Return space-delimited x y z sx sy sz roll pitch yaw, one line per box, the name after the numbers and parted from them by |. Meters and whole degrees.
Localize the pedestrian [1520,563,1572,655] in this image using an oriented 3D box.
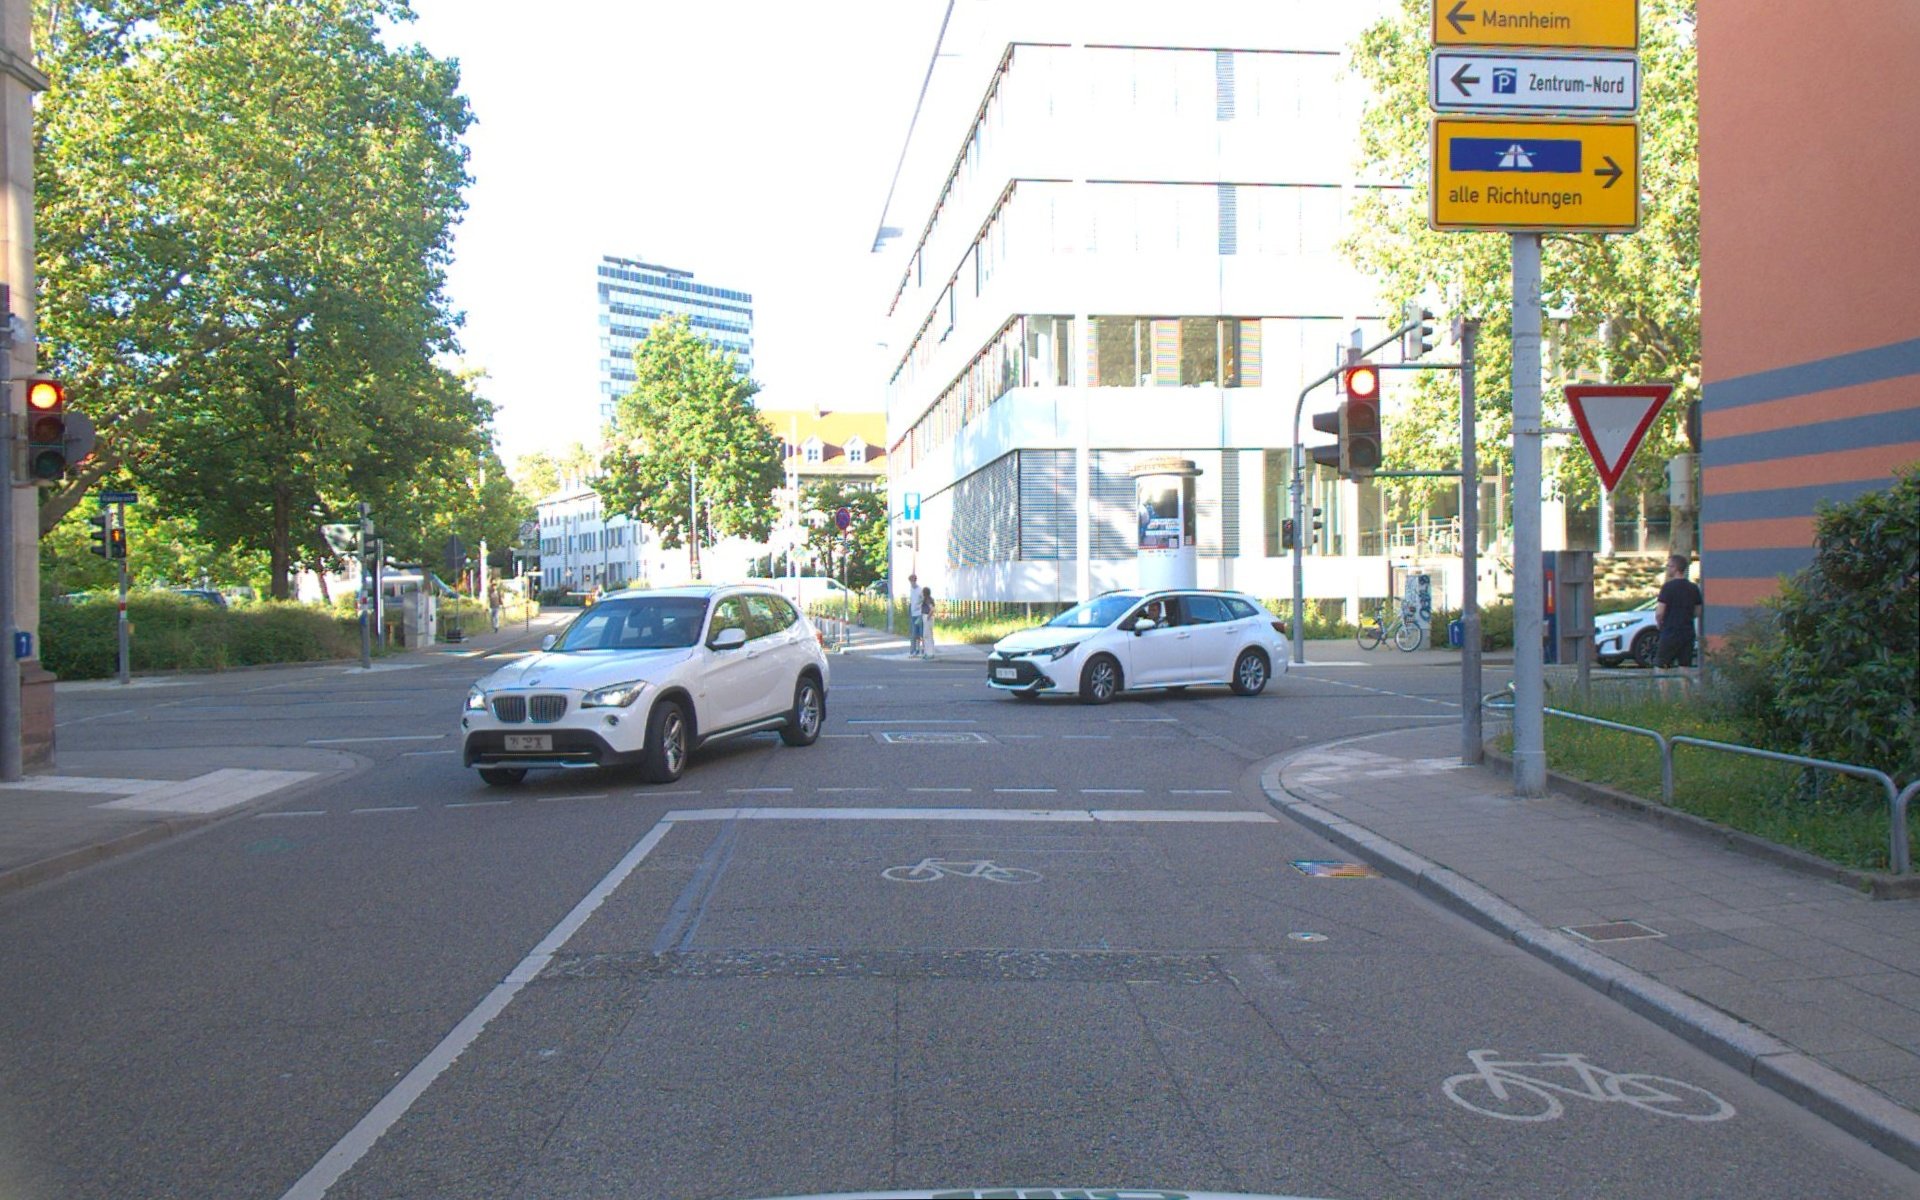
12.105 0.174 34.171 0.817 1.872 0.709 1 0 2 | pedestrian

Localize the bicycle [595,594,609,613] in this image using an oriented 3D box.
-18.939 0.184 87.589 0.604 0.986 1.837 -1 1 -9 | bicycle

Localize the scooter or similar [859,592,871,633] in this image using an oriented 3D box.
-3.363 0.435 58.532 0.324 1.449 1.333 1 0 -6 | scooter or similar

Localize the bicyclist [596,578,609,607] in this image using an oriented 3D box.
-18.950 -0.397 87.599 0.604 1.559 0.901 -1 0 -9 | bicyclist

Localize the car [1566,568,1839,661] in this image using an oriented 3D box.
13.615 0.245 30.486 4.232 1.603 1.824 -1 0 -1 | car

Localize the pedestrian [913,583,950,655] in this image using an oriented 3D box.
-0.644 0.430 37.206 0.551 1.567 0.673 -4 1 -19 | pedestrian

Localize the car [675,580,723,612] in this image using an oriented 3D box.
-14.299 -0.247 90.449 1.860 1.684 4.391 0 1 -19 | car

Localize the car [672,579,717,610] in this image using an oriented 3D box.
-15.346 -0.346 95.285 1.860 1.684 4.391 0 1 -19 | car

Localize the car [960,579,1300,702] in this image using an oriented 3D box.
2.365 0.493 22.538 4.490 1.501 1.871 -1 0 -34 | car

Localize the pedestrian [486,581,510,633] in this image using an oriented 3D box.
-16.143 0.239 57.794 0.692 1.753 0.950 -2 0 -19 | pedestrian

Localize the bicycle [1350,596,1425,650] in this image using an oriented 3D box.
9.350 0.497 36.191 0.503 1.067 1.667 -3 4 -35 | bicycle

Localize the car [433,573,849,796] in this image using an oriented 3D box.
-2.613 0.632 14.687 1.650 1.610 4.277 -3 1 19 | car

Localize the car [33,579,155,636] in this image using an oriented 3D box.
-39.975 0.323 76.461 4.472 2.433 2.069 -2 0 -10 | car

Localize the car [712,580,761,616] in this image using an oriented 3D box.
-10.608 -0.108 78.172 1.856 1.582 4.400 0 1 -14 | car

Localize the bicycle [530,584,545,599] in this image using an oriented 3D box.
-31.827 -0.633 124.637 0.850 1.027 2.407 -3 1 -11 | bicycle

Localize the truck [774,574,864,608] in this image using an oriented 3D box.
-8.776 -0.572 102.944 5.258 2.049 1.989 -1 0 -20 | truck

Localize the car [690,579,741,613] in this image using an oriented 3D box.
-12.672 -0.232 85.390 1.860 1.684 4.391 0 1 -19 | car

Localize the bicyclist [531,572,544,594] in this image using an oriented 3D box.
-31.856 -1.277 124.650 0.850 1.541 1.016 -3 0 -12 | bicyclist

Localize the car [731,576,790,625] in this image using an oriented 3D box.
-7.835 -0.015 64.568 2.047 1.827 4.404 0 1 -10 | car

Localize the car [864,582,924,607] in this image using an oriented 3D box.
-4.162 -0.356 104.199 3.502 1.573 1.549 -1 0 -20 | car

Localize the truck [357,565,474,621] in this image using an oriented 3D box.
-24.563 -0.334 74.777 4.741 2.441 2.082 0 1 -11 | truck

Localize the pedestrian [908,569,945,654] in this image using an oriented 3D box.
-0.759 0.264 37.810 0.547 1.882 0.678 -3 1 15 | pedestrian

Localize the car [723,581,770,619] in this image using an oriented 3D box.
-9.440 -0.032 72.818 1.854 1.582 4.404 0 1 -10 | car

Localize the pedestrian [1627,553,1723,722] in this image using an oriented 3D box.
8.138 0.418 18.845 0.692 1.872 0.837 1 0 -1 | pedestrian
